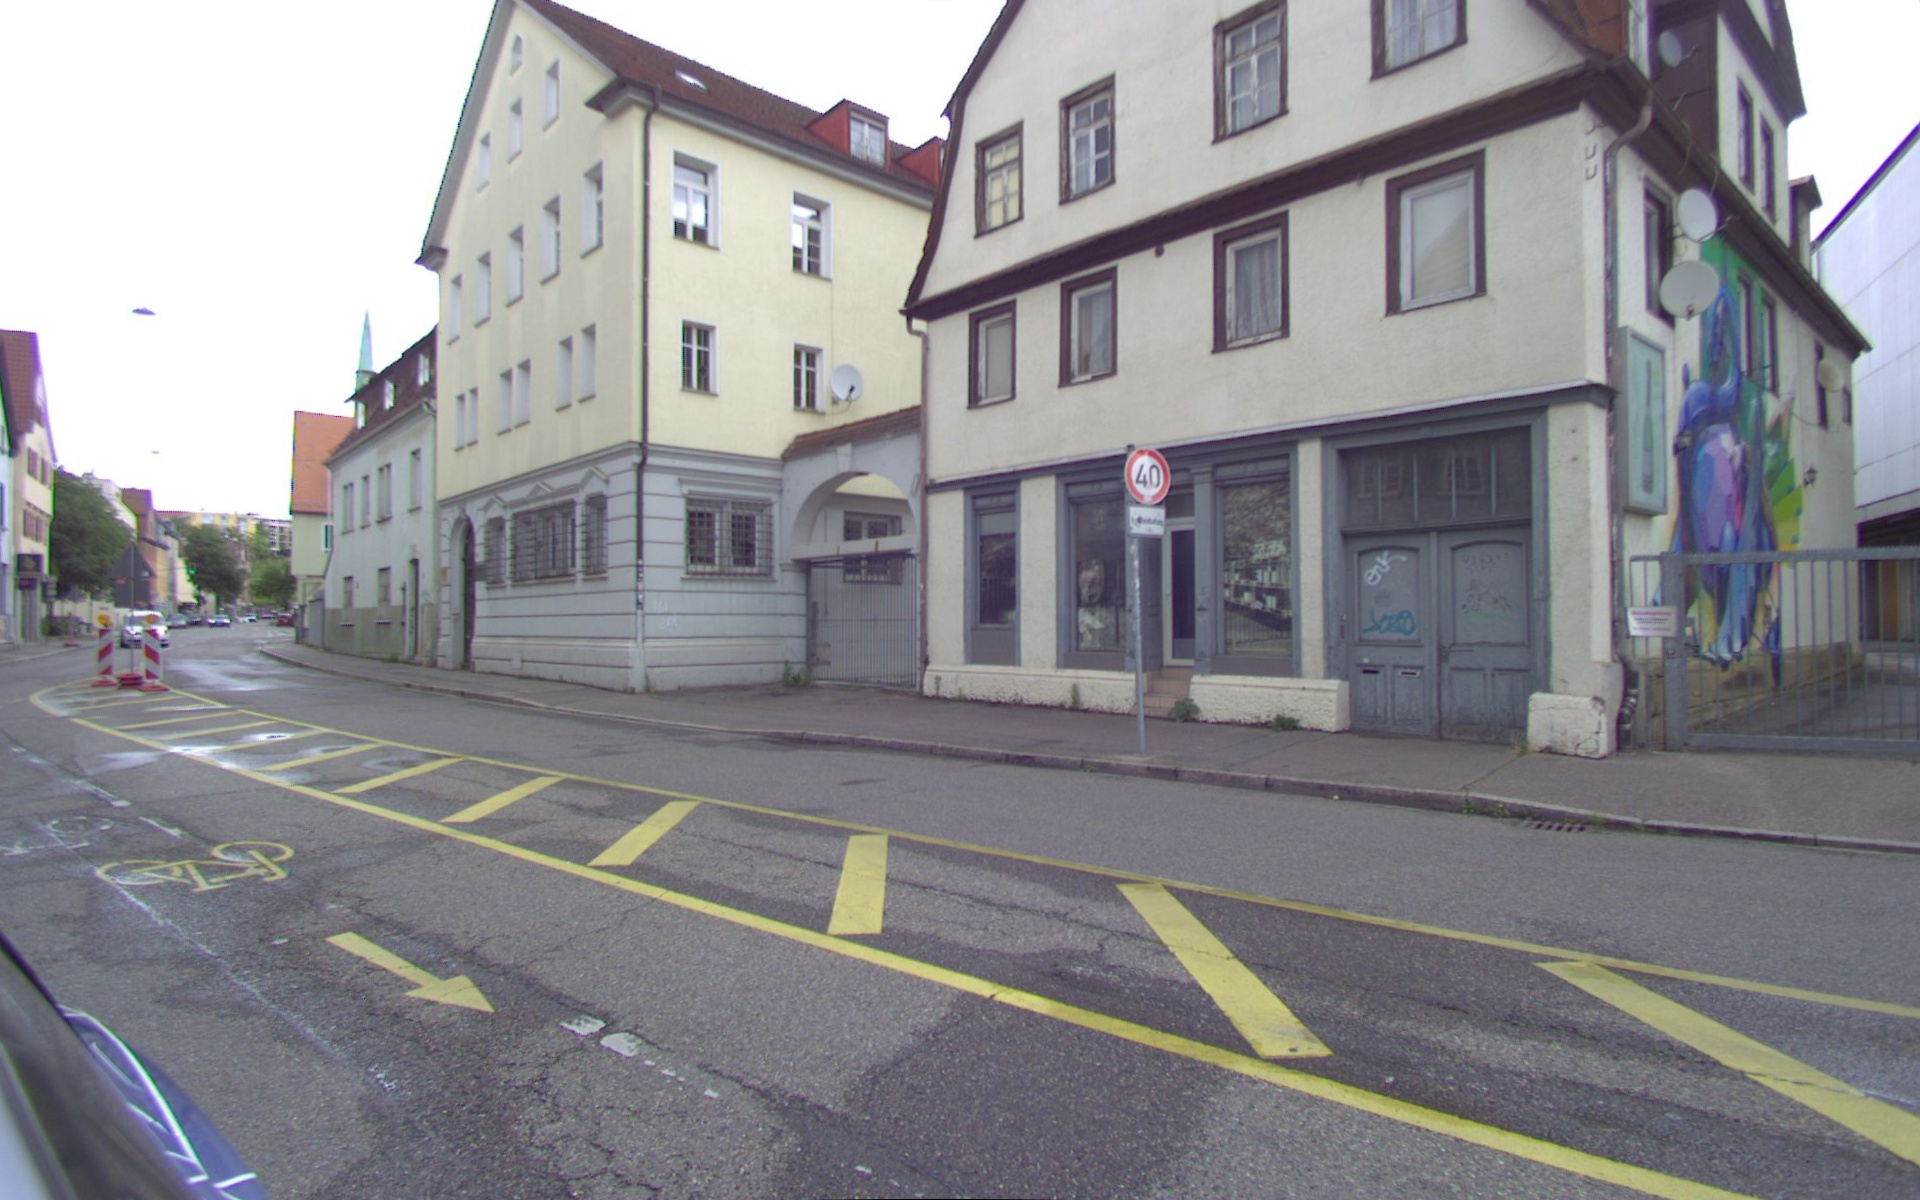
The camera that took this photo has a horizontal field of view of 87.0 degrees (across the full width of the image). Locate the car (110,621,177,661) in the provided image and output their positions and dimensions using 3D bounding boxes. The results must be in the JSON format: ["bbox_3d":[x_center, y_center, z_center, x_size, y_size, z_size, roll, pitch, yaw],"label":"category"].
[{"bbox_3d":[-40.260,1.995,49.871,4.468,1.800,1.971,0,-1,44],"label":"car"}]

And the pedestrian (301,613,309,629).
[{"bbox_3d":[-86.025,2.763,132.867,0.823,2.029,0.847,1,-2,-36],"label":"pedestrian"}]

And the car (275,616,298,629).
[{"bbox_3d":[-85.234,2.831,128.013,2.178,1.690,4.509,2,-2,-36],"label":"car"}]

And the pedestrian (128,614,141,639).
[{"bbox_3d":[-78.784,2.539,96.638,0.888,2.328,0.822,1,-2,-36],"label":"pedestrian"}]

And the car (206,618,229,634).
[{"bbox_3d":[-82.631,2.918,112.656,1.967,1.691,4.010,0,0,-34],"label":"car"}]
